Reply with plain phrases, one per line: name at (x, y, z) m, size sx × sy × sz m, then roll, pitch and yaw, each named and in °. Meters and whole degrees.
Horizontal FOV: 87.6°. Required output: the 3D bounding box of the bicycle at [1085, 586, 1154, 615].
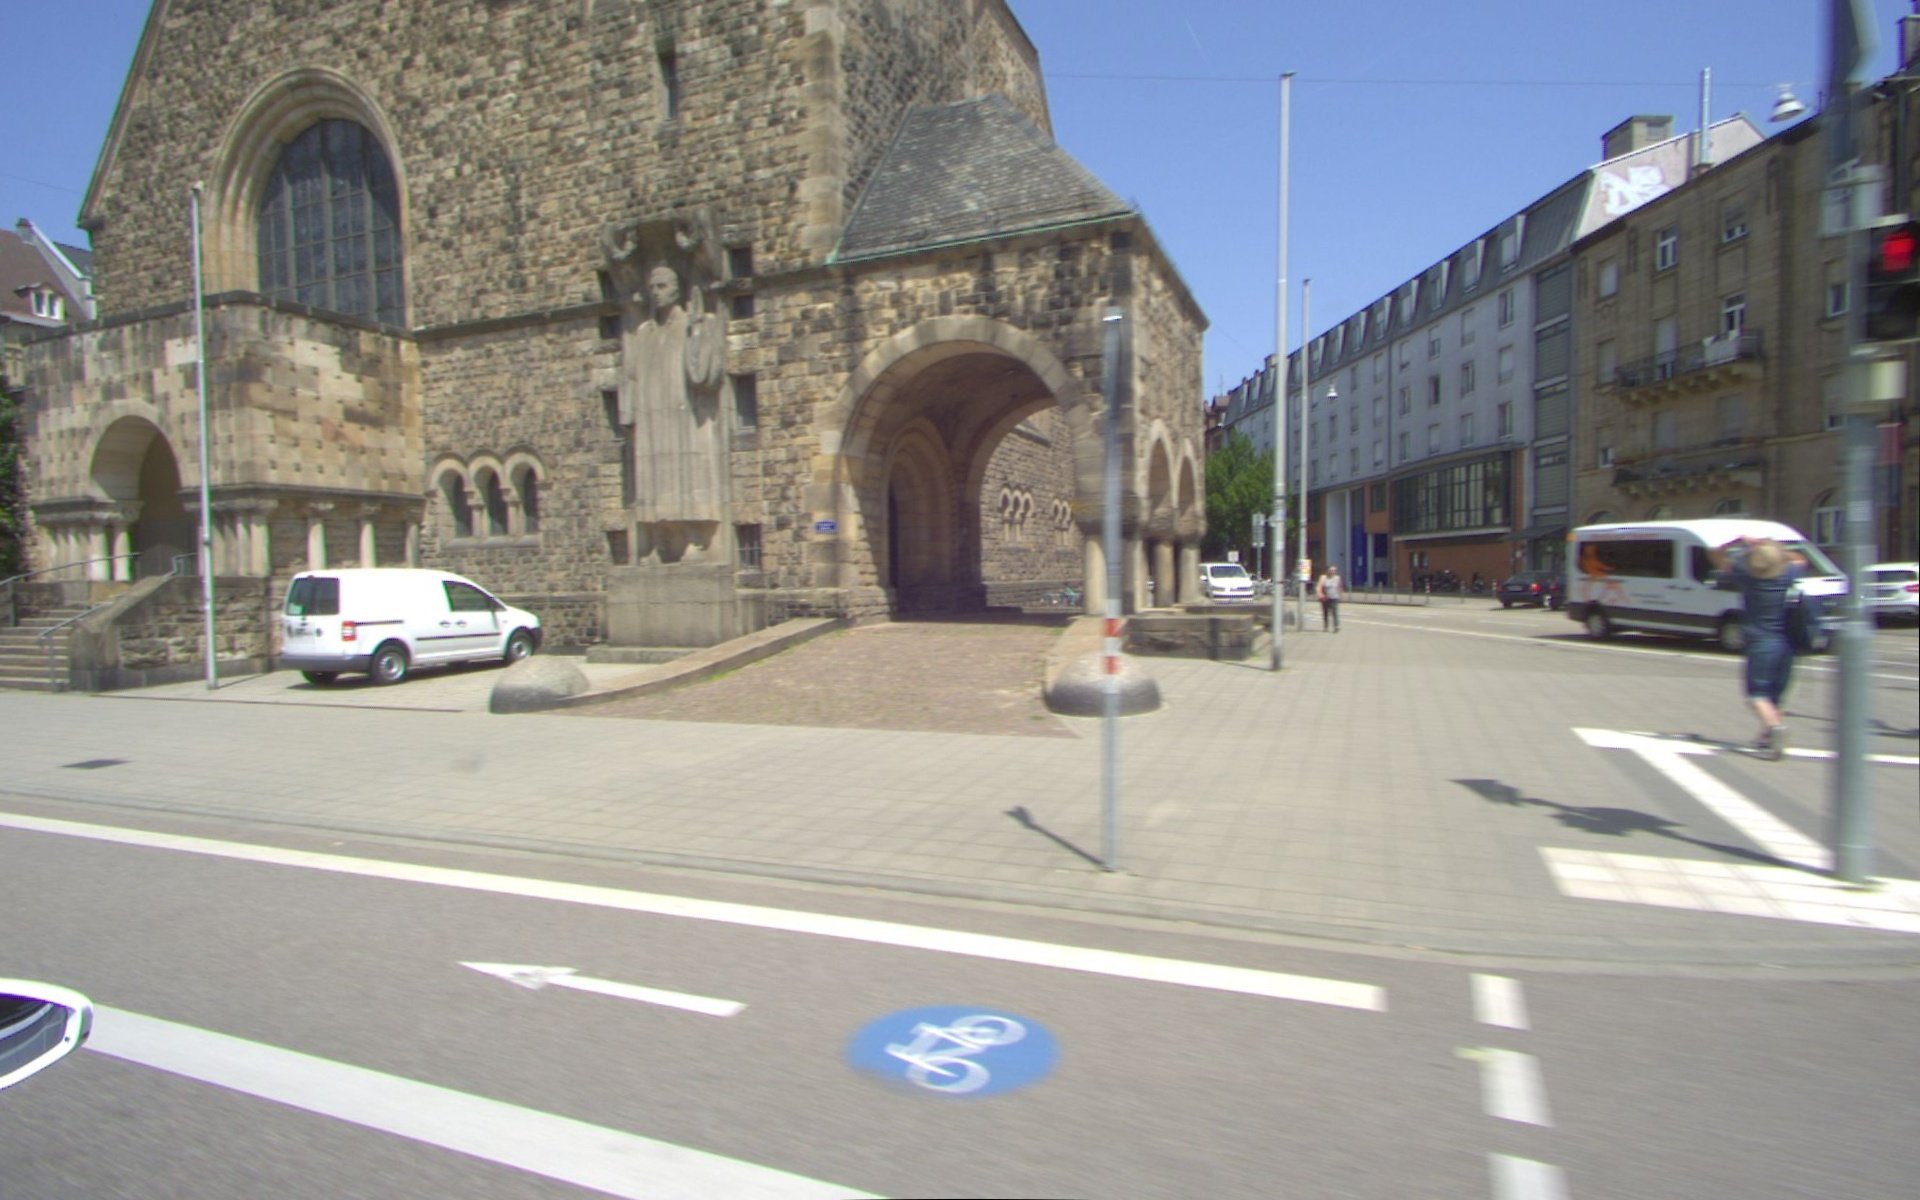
bicycle at (5.975, 0.014, 37.453) m, size 2.457 × 1.025 × 0.703 m, roll 0°, pitch 2°, yaw 25°

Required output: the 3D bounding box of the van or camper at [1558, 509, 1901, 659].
van or camper at (14.676, -0.331, 19.758) m, size 2.033 × 2.495 × 5.899 m, roll -1°, pitch 1°, yaw -2°

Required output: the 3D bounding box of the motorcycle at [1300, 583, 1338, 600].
motorcycle at (21.250, -0.501, 59.290) m, size 2.039 × 0.972 × 0.741 m, roll -1°, pitch 4°, yaw 16°

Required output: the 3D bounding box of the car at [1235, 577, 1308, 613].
car at (13.829, -0.249, 44.719) m, size 1.961 × 1.477 × 3.998 m, roll -1°, pitch 1°, yaw -1°

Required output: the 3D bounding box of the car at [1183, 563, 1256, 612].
car at (11.403, -0.569, 44.385) m, size 2.005 × 2.032 × 4.966 m, roll -1°, pitch 1°, yaw 1°

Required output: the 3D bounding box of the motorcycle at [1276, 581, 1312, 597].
motorcycle at (20.483, -0.674, 61.423) m, size 2.039 × 0.972 × 0.606 m, roll -1°, pitch 4°, yaw 16°

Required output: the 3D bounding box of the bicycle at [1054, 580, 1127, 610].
bicycle at (4.621, -0.169, 35.547) m, size 2.457 × 1.025 × 0.703 m, roll 0°, pitch 2°, yaw 25°

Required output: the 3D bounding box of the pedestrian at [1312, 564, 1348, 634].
pedestrian at (8.537, -0.023, 23.131) m, size 0.708 × 1.580 × 0.790 m, roll 0°, pitch 1°, yaw 16°

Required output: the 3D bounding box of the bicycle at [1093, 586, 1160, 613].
bicycle at (6.412, -0.018, 38.606) m, size 2.457 × 1.025 × 0.703 m, roll 0°, pitch 2°, yaw 25°

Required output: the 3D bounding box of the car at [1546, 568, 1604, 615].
car at (23.150, -0.348, 37.659) m, size 1.478 × 1.596 × 3.202 m, roll -3°, pitch 1°, yaw 38°

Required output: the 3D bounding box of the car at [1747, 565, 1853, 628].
car at (23.755, -0.118, 28.295) m, size 3.186 × 1.596 × 1.605 m, roll -3°, pitch 1°, yaw -37°

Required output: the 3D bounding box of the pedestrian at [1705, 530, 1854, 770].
pedestrian at (6.679, 0.383, 8.210) m, size 0.821 × 1.847 × 0.741 m, roll 0°, pitch 1°, yaw 30°

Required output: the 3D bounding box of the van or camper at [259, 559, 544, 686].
van or camper at (-9.342, 0.265, 17.162) m, size 1.772 × 1.851 × 3.987 m, roll 0°, pitch 3°, yaw 22°

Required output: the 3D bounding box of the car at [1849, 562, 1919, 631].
car at (23.878, -0.125, 25.209) m, size 3.186 × 1.596 × 1.605 m, roll -3°, pitch 1°, yaw -37°

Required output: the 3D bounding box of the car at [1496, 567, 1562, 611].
car at (22.938, -0.449, 40.349) m, size 1.600 × 1.596 × 3.197 m, roll -3°, pitch 1°, yaw 43°
